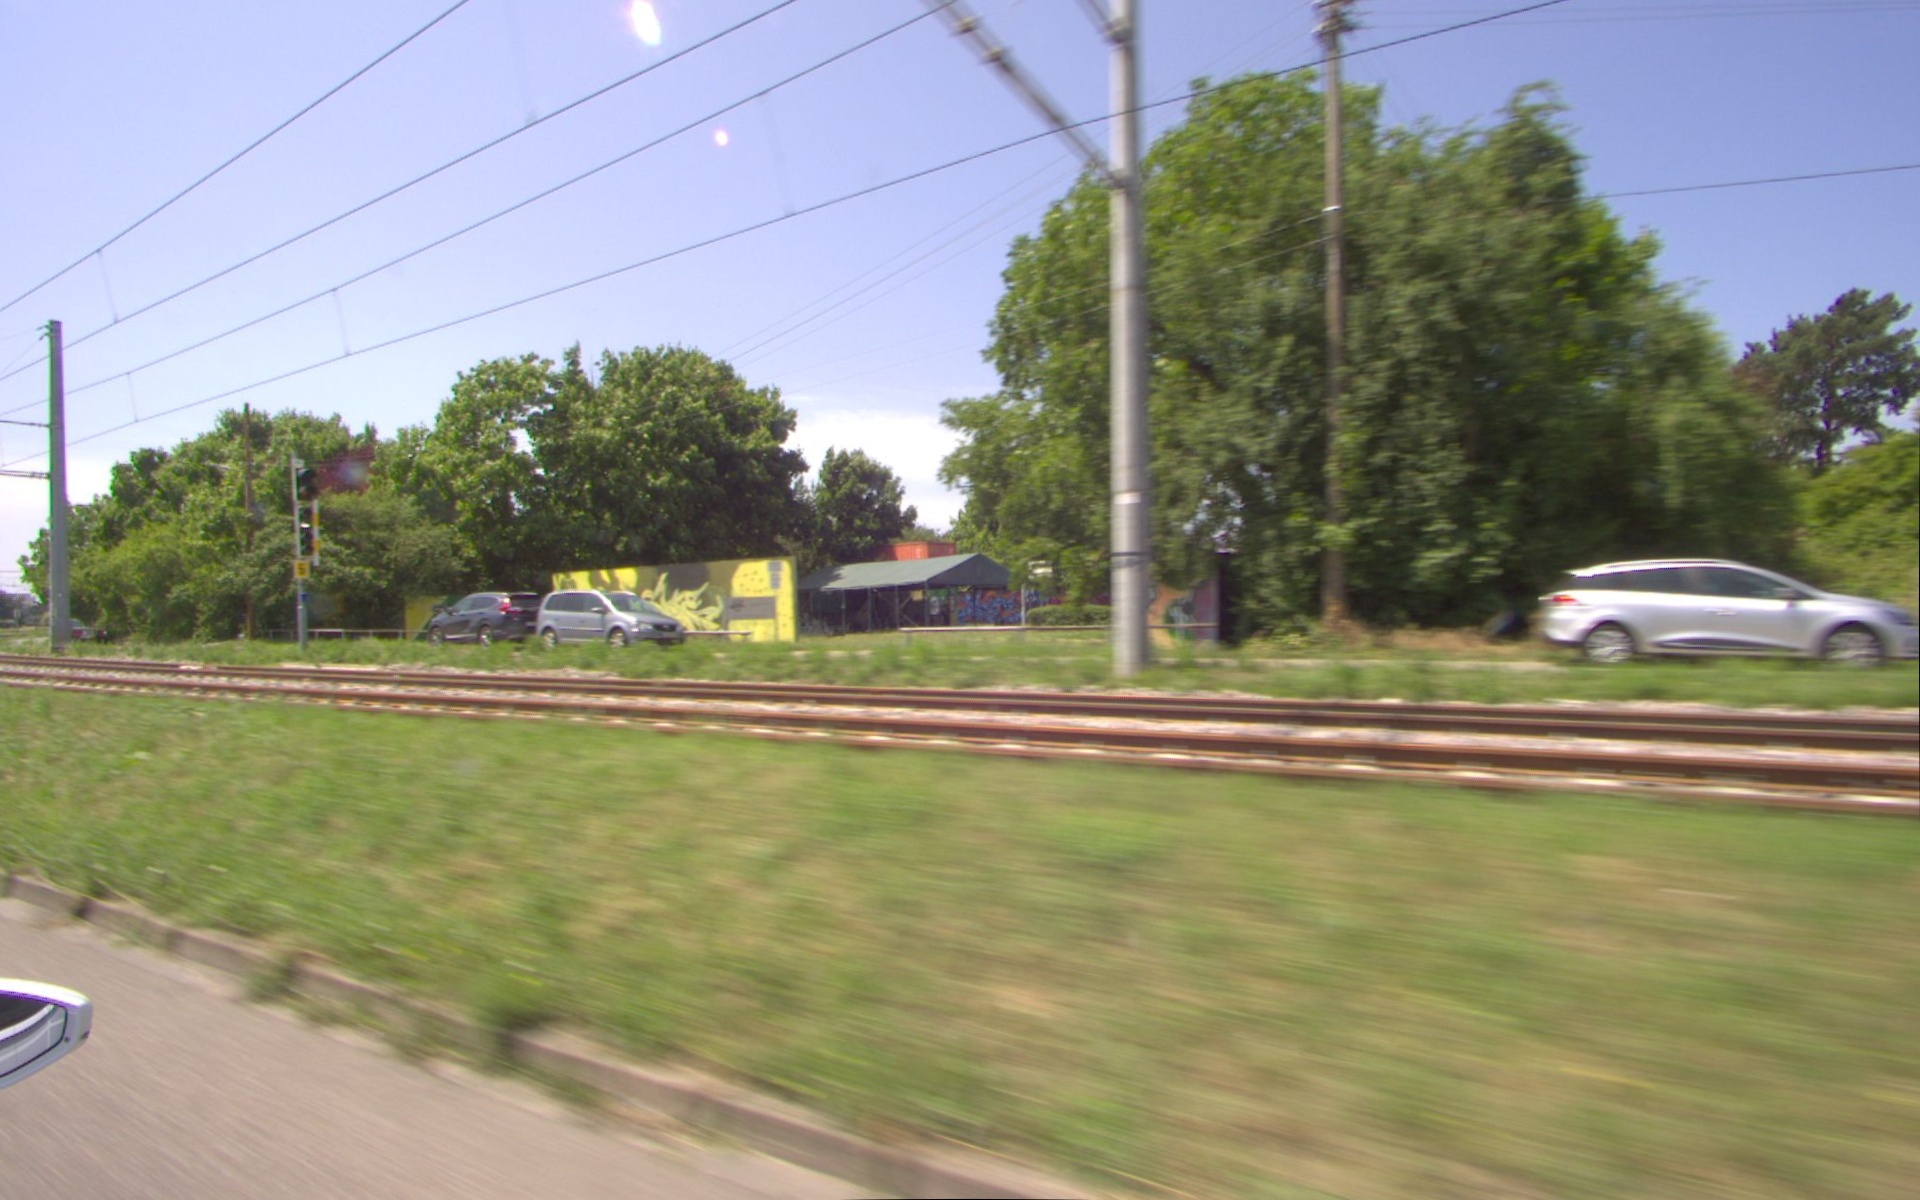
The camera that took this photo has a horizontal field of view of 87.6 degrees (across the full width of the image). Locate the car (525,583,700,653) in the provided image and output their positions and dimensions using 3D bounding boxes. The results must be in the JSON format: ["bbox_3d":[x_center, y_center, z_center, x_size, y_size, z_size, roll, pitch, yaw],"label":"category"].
[{"bbox_3d":[-9.022,0.489,25.887,4.643,1.645,1.674,-2,-1,31],"label":"car"}]

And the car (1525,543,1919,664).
[{"bbox_3d":[10.300,0.102,13.609,4.485,1.432,1.677,-2,-1,32],"label":"car"}]

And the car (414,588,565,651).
[{"bbox_3d":[-13.885,0.596,29.459,4.750,1.678,1.823,-2,-1,34],"label":"car"}]

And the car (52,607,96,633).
[{"bbox_3d":[-54.381,1.221,61.430,1.785,1.444,4.695,-1,-1,-44],"label":"car"}]

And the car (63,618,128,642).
[{"bbox_3d":[-46.044,1.592,53.332,3.617,1.186,1.641,-2,-1,32],"label":"car"}]
